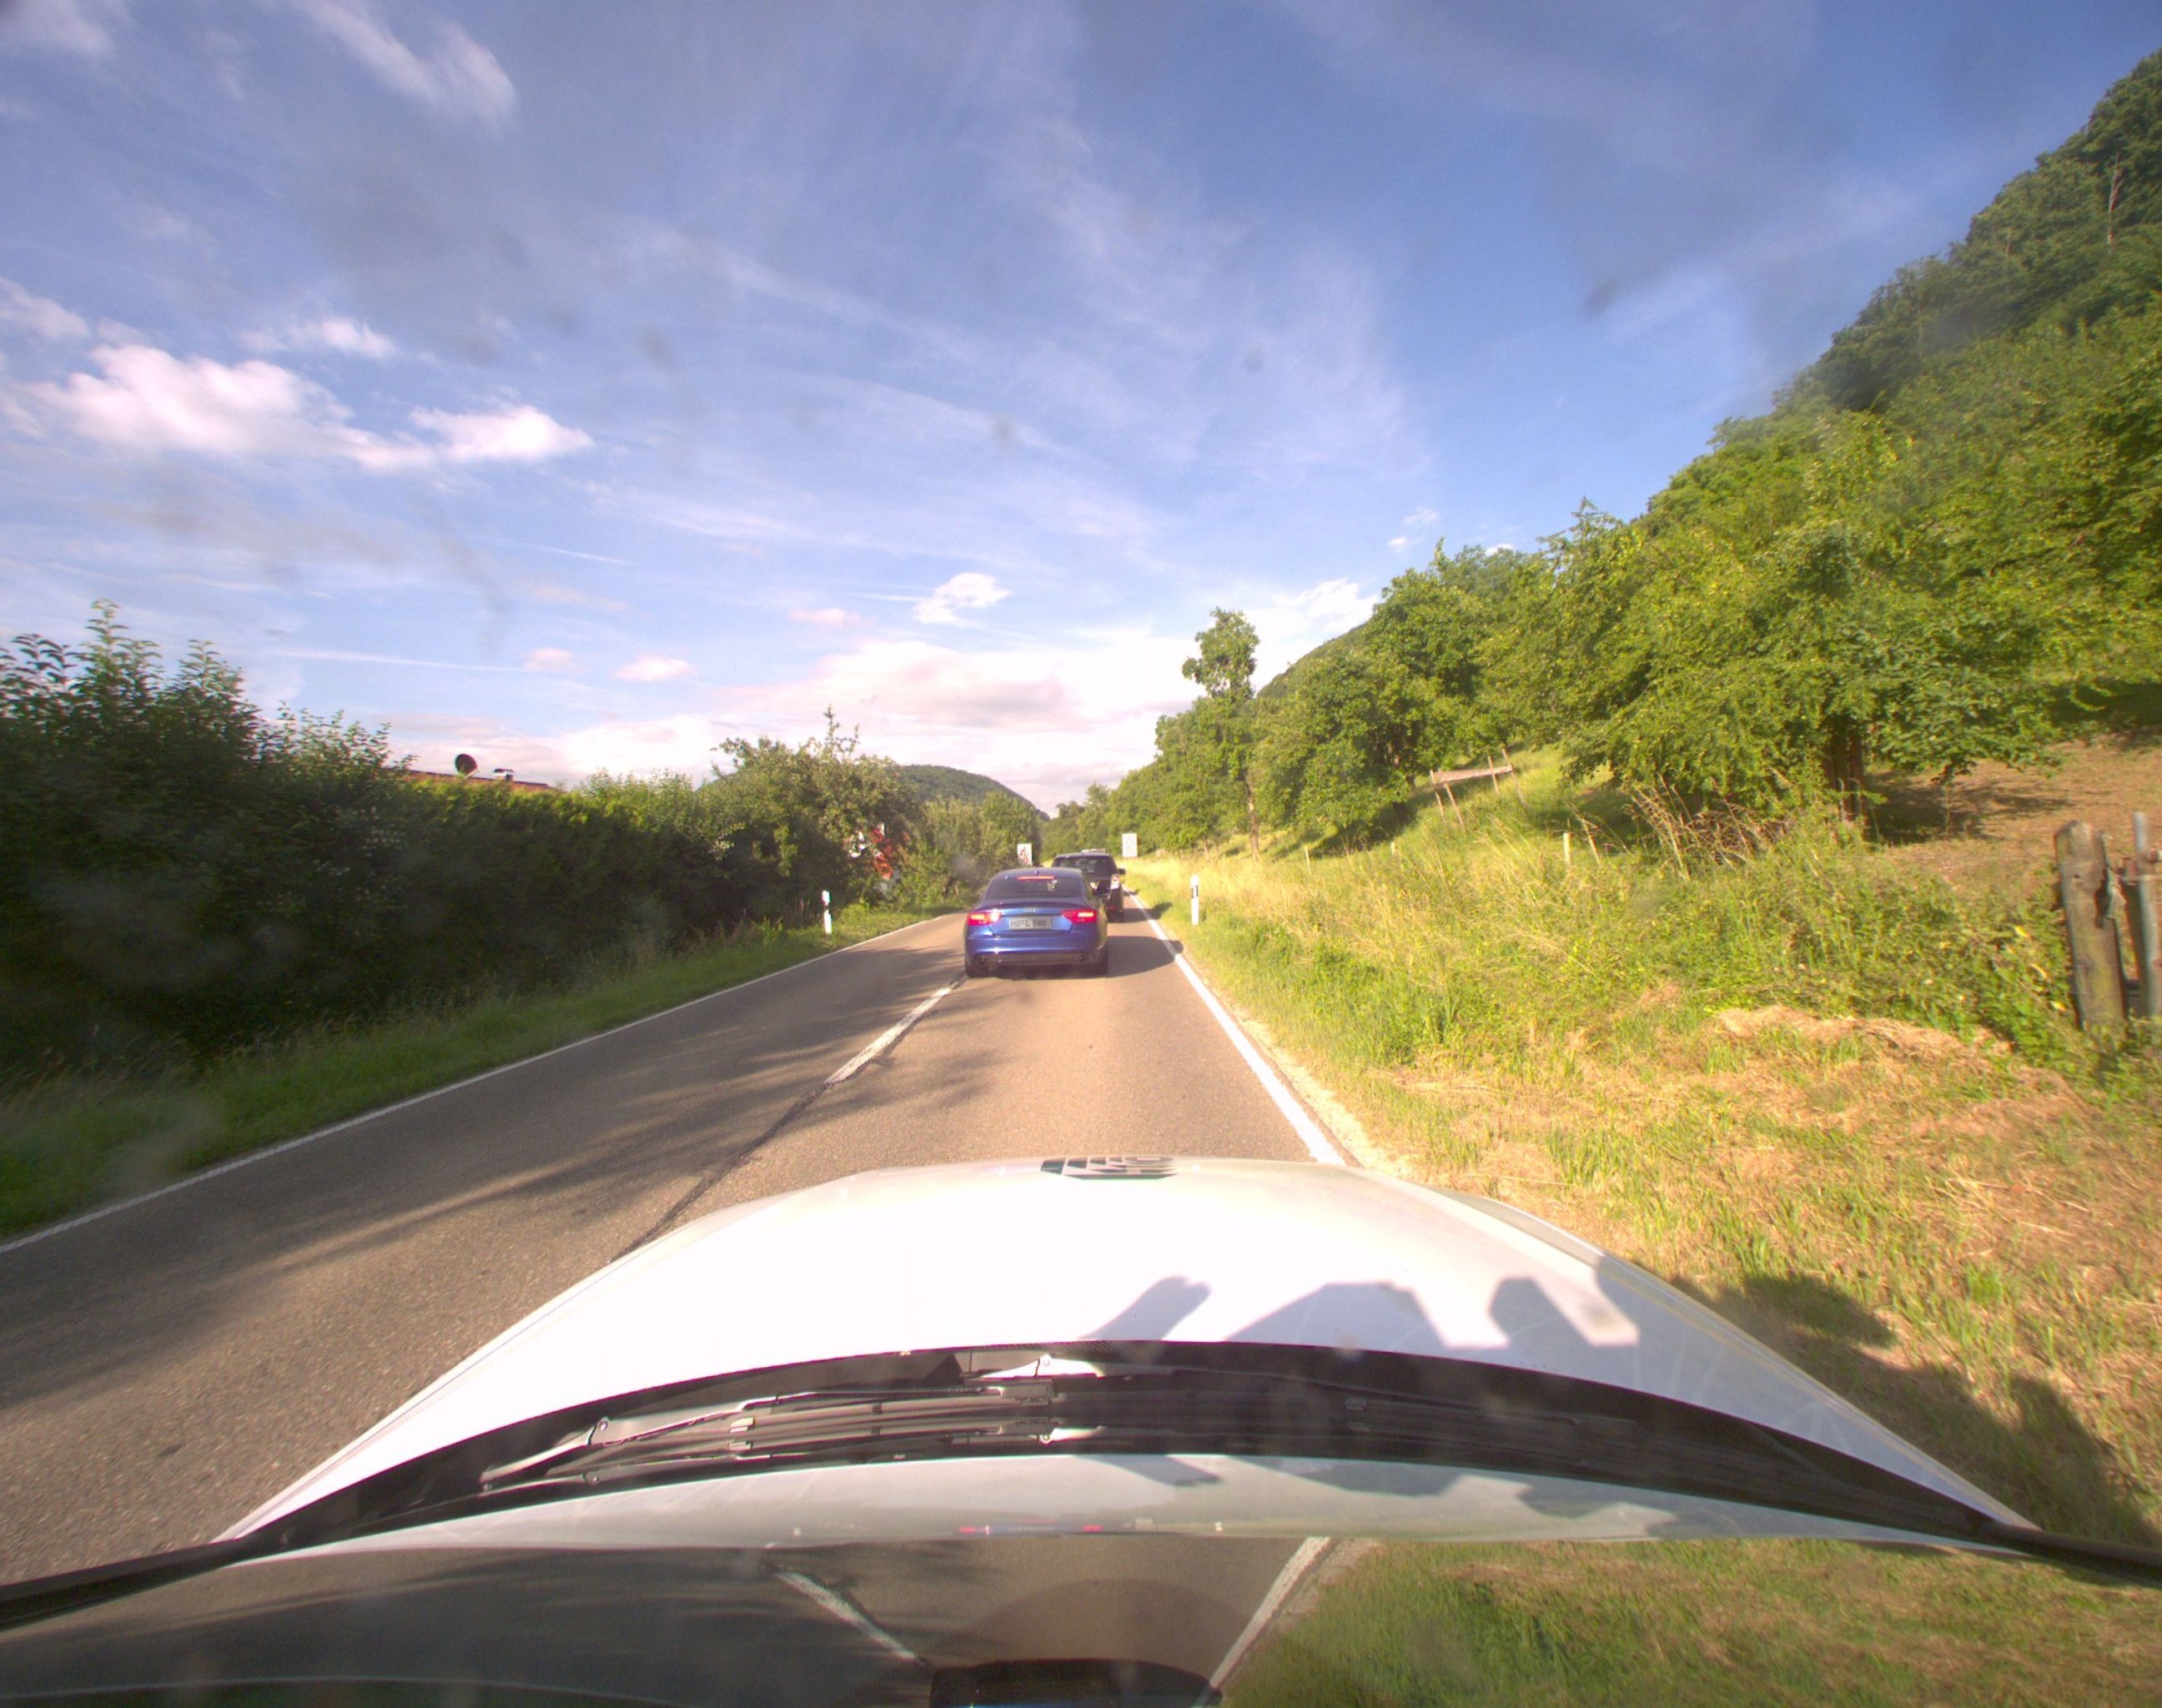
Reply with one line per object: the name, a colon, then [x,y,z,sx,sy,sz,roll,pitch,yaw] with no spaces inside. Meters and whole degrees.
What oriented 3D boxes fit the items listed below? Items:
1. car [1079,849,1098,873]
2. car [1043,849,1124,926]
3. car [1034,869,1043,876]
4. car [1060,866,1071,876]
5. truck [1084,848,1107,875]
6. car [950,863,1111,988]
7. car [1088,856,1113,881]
car: [0.707,0.710,82.947,1.787,2.453,3.916,0,-1,-2]
car: [0.089,0.725,19.405,1.687,1.624,3.790,-1,0,1]
car: [-9.069,3.859,173.076,1.559,1.496,3.763,0,0,-11]
car: [-2.645,2.859,136.844,1.557,1.496,3.768,0,0,-7]
truck: [1.280,0.670,72.742,1.943,2.345,5.093,0,0,0]
car: [-0.520,0.841,11.418,1.799,1.382,4.216,-2,-1,1]
car: [1.348,1.008,57.148,1.687,1.624,3.790,-1,0,1]
